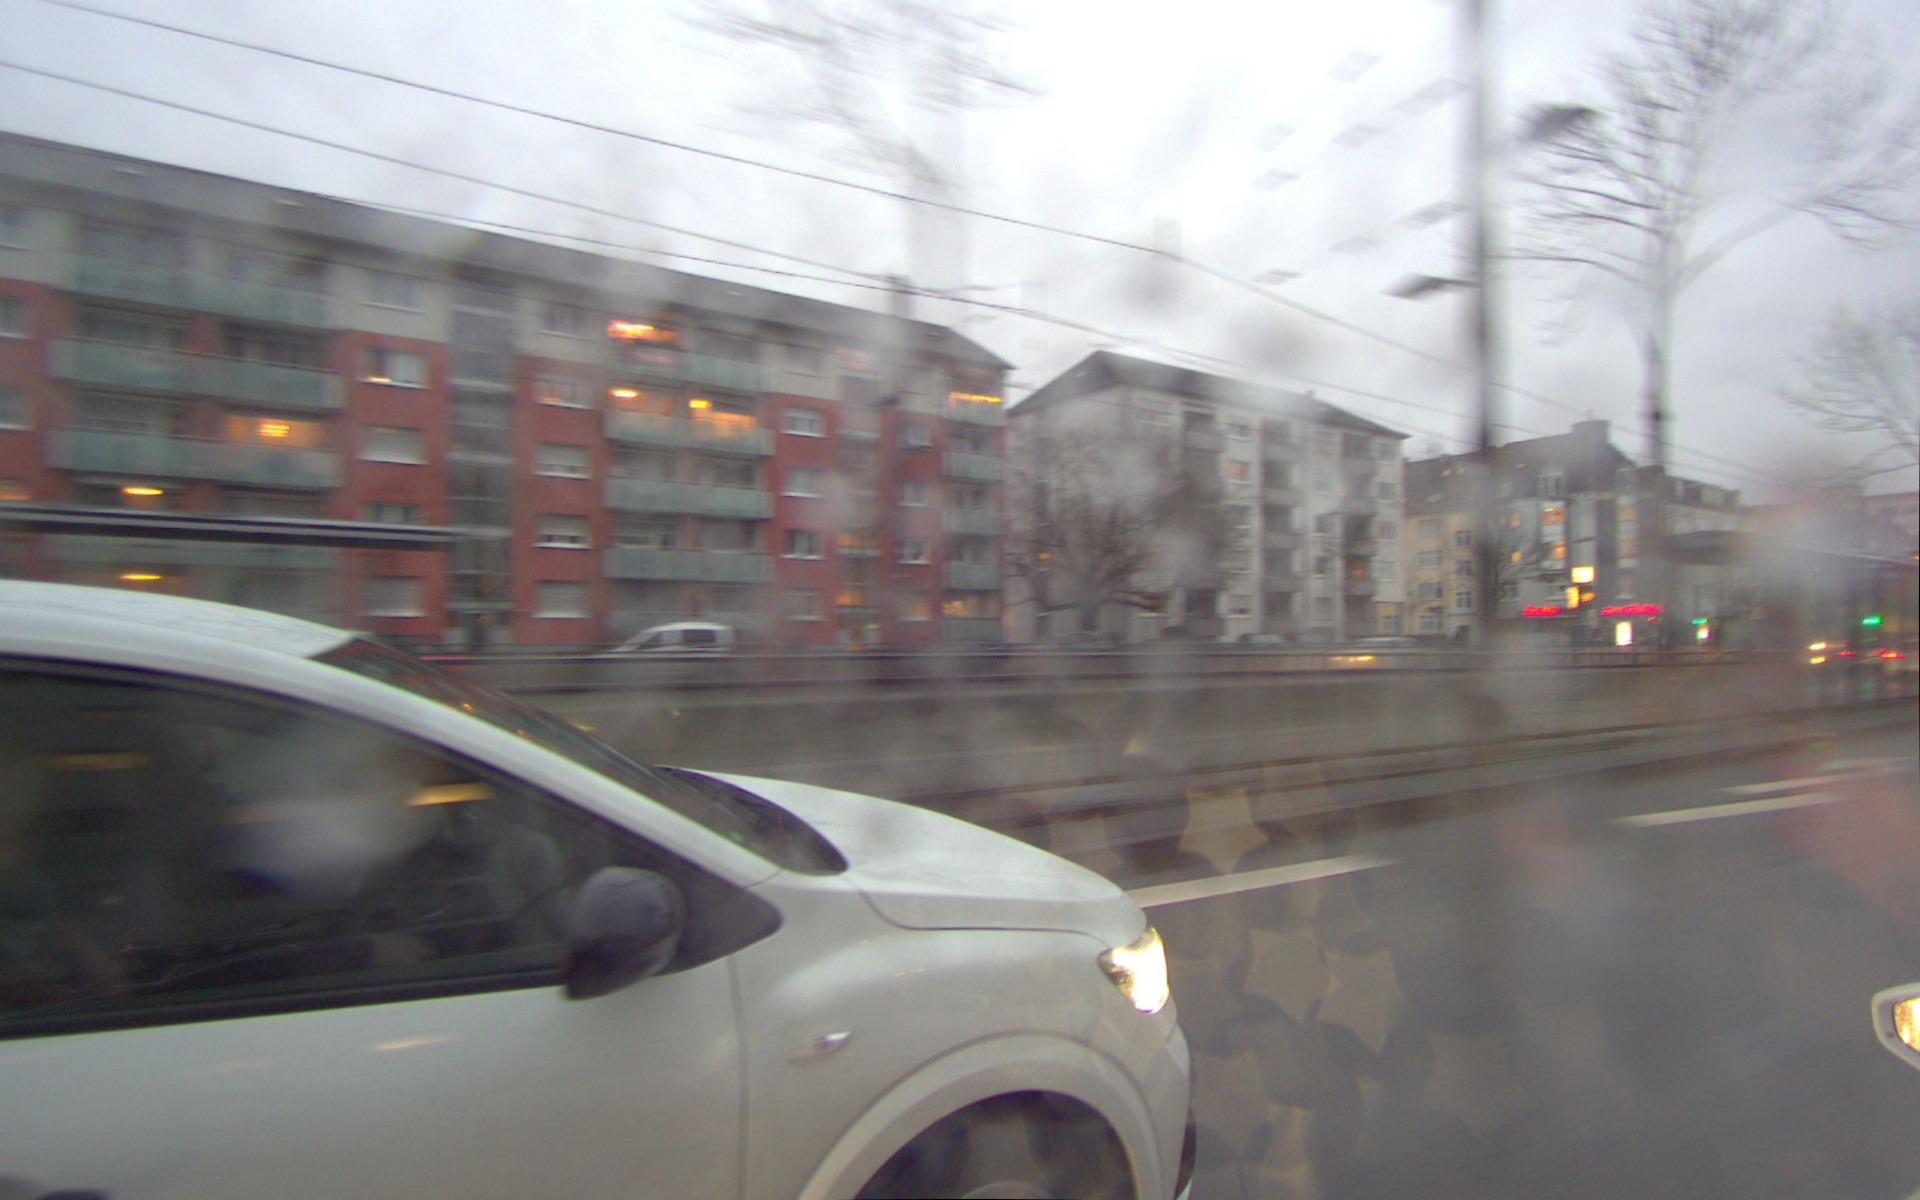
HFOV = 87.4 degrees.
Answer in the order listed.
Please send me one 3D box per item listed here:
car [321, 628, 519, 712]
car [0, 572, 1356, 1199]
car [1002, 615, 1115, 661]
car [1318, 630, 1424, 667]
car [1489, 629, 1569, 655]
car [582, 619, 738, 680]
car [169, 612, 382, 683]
[{"bbox_3d":[-10.345,1.319,19.297,3.202,1.454,1.678,3,-1,-33],"label":"car"},{"bbox_3d":[-1.304,0.723,1.814,3.954,1.485,1.699,3,-1,-31],"label":"car"},{"bbox_3d":[3.790,1.463,38.477,4.105,1.667,1.715,3,-1,-32],"label":"car"},{"bbox_3d":[15.961,1.896,38.974,4.170,1.309,1.769,3,-1,-33],"label":"car"},{"bbox_3d":[33.575,2.463,59.324,1.684,1.384,3.768,3,-2,-38],"label":"car"},{"bbox_3d":[-8.854,1.473,29.766,4.105,1.667,1.715,3,-1,-32],"label":"car"},{"bbox_3d":[-16.425,1.158,24.360,4.105,1.564,1.715,3,-1,-32],"label":"car"}]
